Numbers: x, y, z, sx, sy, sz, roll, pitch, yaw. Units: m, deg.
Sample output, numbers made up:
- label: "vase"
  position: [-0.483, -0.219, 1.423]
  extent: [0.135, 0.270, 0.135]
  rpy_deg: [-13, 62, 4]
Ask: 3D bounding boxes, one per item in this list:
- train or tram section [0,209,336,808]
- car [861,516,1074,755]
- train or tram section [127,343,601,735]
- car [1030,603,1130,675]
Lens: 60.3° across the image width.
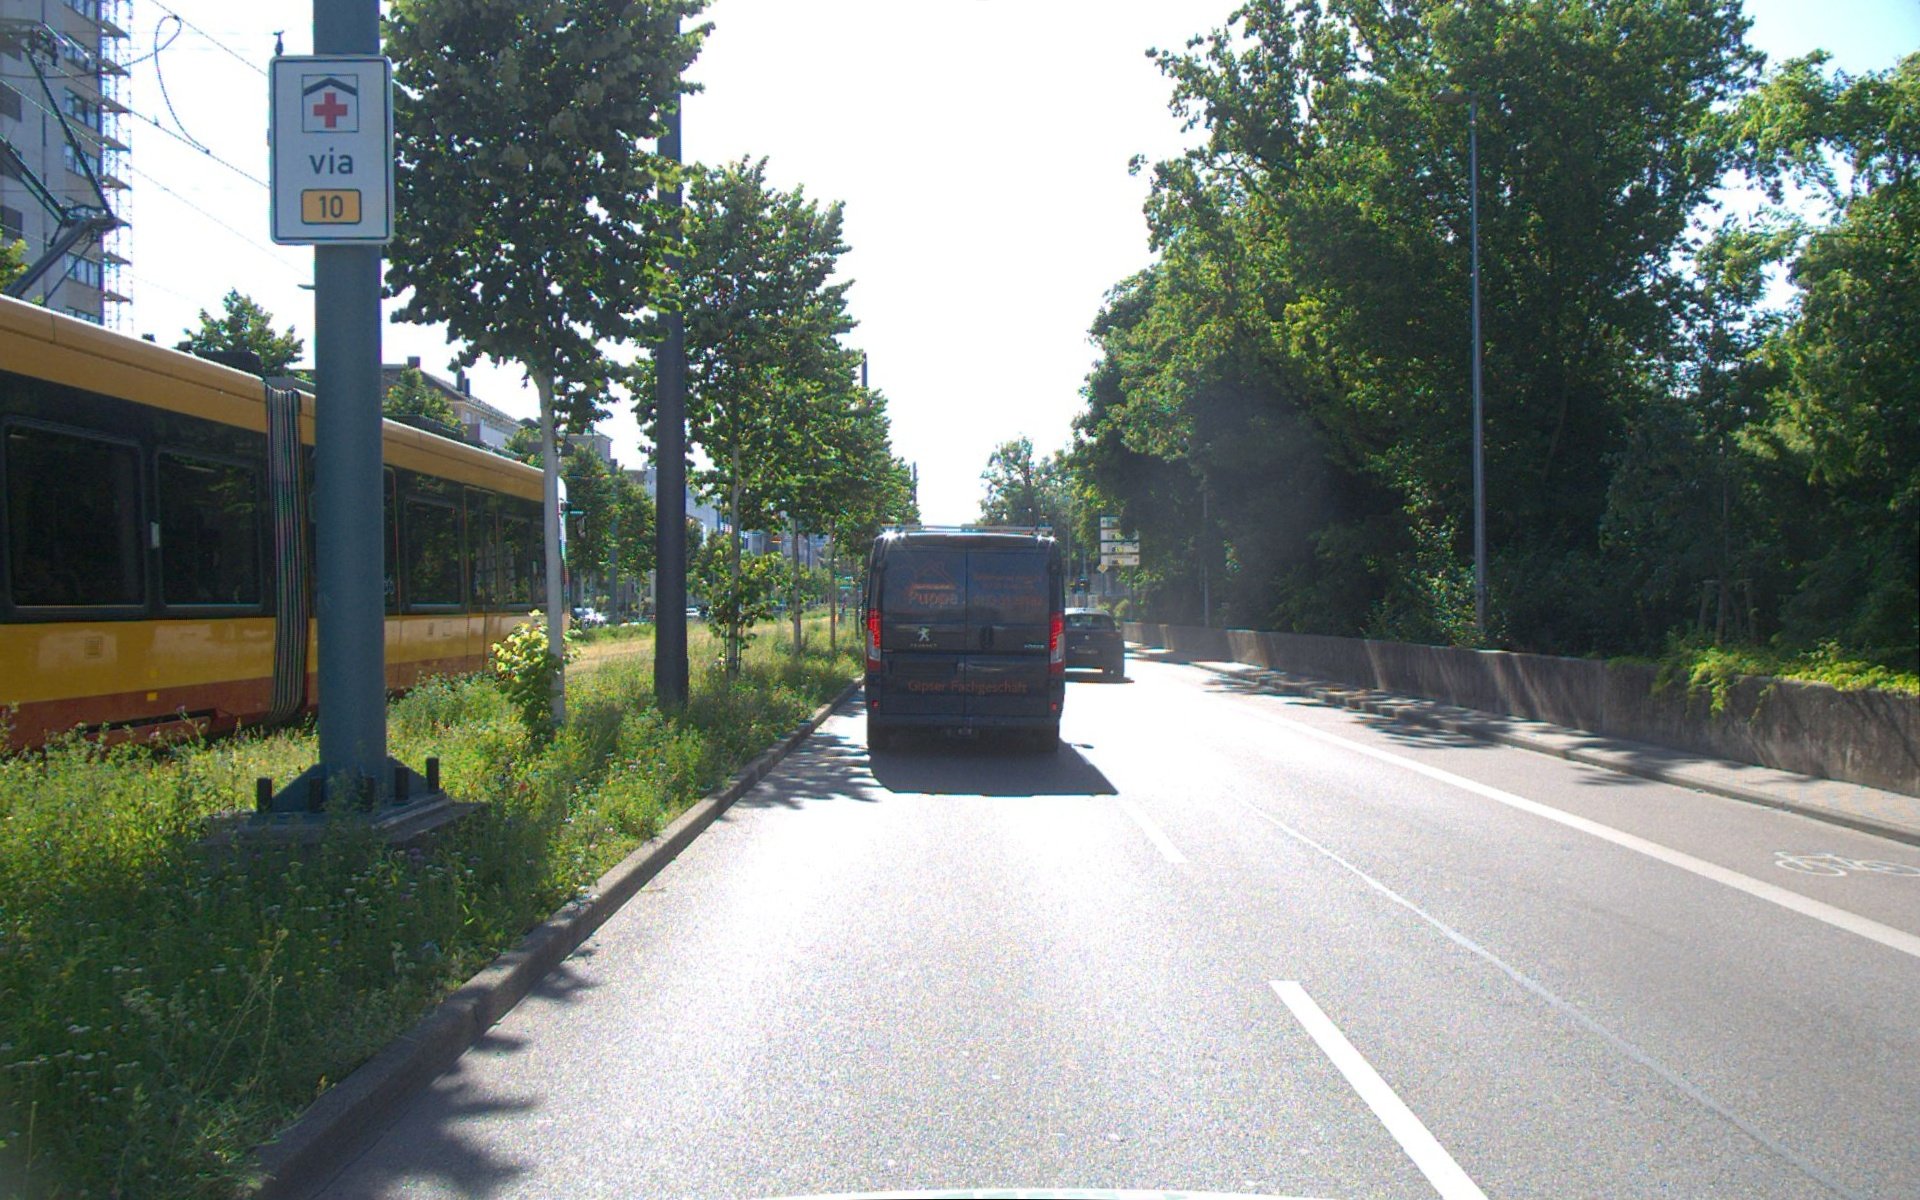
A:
- label: "train or tram section"
  position: [-6.965, -0.573, 10.244]
  extent: [1.953, 3.733, 11.314]
  rpy_deg: [1, 0, 0]
- label: "car"
  position: [0.036, 0.352, 17.997]
  extent: [2.040, 2.288, 3.999]
  rpy_deg: [1, 0, -1]
- label: "train or tram section"
  position: [-6.979, -0.557, 21.695]
  extent: [1.953, 3.733, 11.682]
  rpy_deg: [1, 0, 0]
- label: "car"
  position: [2.558, 0.816, 36.195]
  extent: [1.728, 1.488, 3.998]
  rpy_deg: [1, 0, -3]
